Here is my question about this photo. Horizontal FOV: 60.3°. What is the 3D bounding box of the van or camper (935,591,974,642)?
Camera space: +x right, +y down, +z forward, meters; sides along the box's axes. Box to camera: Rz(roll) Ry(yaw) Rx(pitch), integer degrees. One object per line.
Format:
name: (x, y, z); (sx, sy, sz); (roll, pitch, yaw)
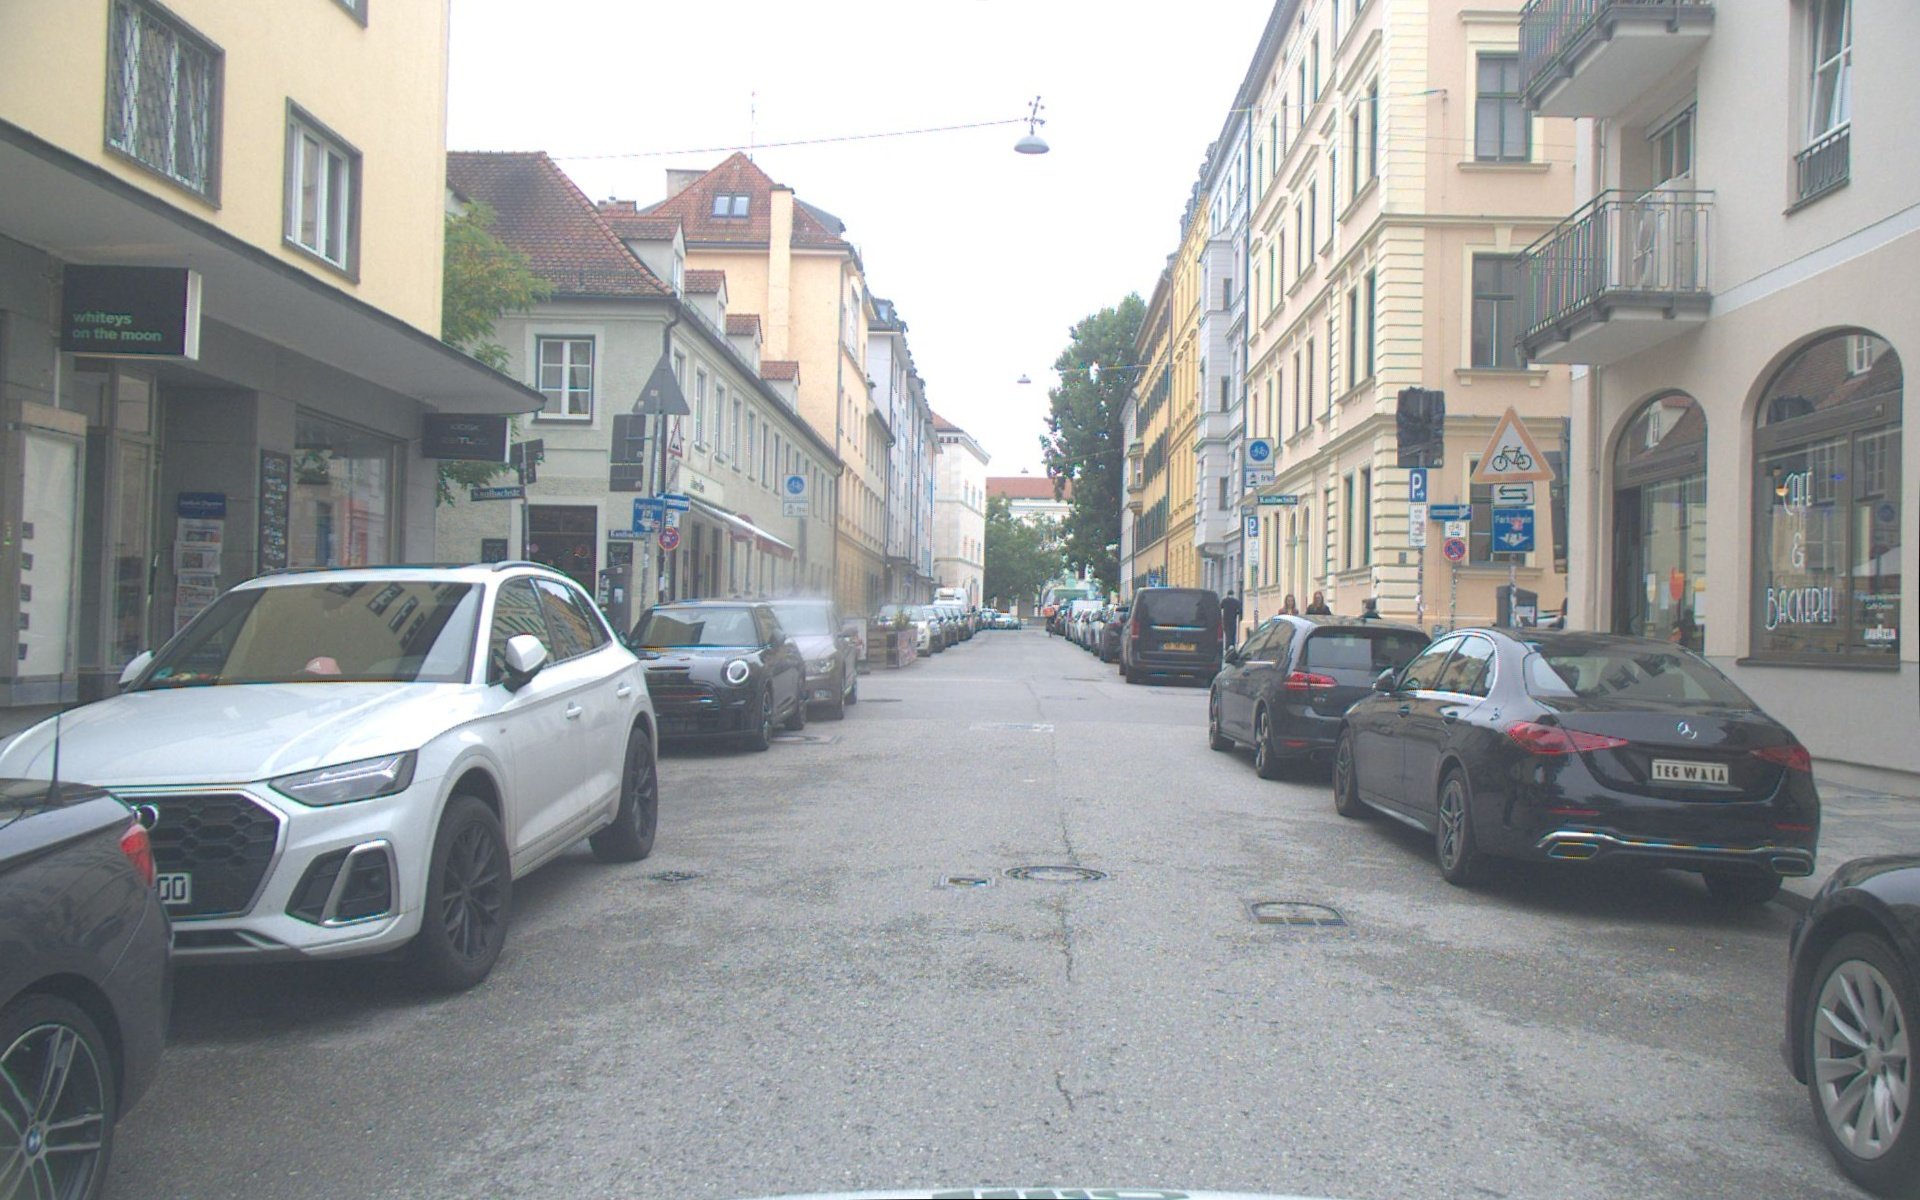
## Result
van or camper: (-0.225, 0.781, 78.985); (1.718, 2.321, 5.273); (1, -1, 1)

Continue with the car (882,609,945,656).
car: (-1.436, 0.993, 52.647); (1.761, 1.363, 4.686); (1, 0, 1)

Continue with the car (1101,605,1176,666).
car: (4.834, 0.949, 45.305); (1.718, 1.548, 4.275); (1, -1, 2)

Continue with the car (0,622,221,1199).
car: (-2.874, 0.786, 2.328); (1.709, 1.435, 4.099); (0, 0, 2)

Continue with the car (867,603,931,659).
car: (-1.704, 0.880, 47.556); (1.719, 1.501, 3.713); (2, -1, -1)

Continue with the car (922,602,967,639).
car: (-0.615, 0.849, 68.677); (1.718, 1.433, 4.103); (1, -1, 1)

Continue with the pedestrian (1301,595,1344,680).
pedestrian: (7.126, 0.743, 32.530); (0.645, 1.649, 0.979); (1, -2, 1)

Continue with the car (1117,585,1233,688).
car: (4.323, 0.708, 33.975); (1.956, 1.897, 5.255); (2, 0, 3)

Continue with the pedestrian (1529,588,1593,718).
pedestrian: (7.855, 0.694, 21.626); (0.622, 1.676, 0.526); (1, -2, -6)

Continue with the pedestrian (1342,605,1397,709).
pedestrian: (7.059, 0.983, 28.525); (0.704, 1.747, 1.004); (1, -2, 1)

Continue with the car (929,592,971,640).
car: (-0.471, 0.720, 73.584); (1.719, 2.030, 4.623); (1, -1, -2)

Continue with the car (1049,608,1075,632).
car: (7.352, 1.441, 119.775); (1.774, 1.642, 4.157); (1, -1, 3)

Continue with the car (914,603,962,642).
car: (-0.887, 0.838, 63.713); (1.779, 1.467, 4.130); (0, 0, -2)

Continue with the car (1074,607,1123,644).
car: (5.779, 1.052, 69.399); (1.673, 1.480, 4.096); (1, -1, 0)

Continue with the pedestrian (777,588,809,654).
pedestrian: (-4.913, 0.625, 48.694); (0.805, 1.931, 0.827); (1, -2, 1)

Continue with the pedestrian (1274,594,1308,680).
pedestrian: (6.506, 0.727, 32.556); (0.462, 1.653, 1.069); (1, -2, 1)

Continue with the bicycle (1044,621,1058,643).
bicycle: (4.695, 1.638, 85.316); (0.661, 1.114, 1.760); (1, -2, 3)

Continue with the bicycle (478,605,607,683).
bicycle: (-6.192, 0.645, 24.566); (1.780, 1.053, 0.392); (3, 0, 5)

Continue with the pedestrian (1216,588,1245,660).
pedestrian: (7.727, 0.684, 47.299); (0.655, 2.015, 0.709); (-2, -2, 2)

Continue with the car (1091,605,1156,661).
car: (5.012, 1.010, 51.216); (1.707, 1.611, 4.467); (1, -1, 2)

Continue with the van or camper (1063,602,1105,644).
van or camper: (5.910, 1.073, 79.116); (1.795, 1.904, 5.080); (1, -1, 2)

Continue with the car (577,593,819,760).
car: (-2.538, 0.695, 16.951); (1.644, 1.497, 4.099); (0, 0, 3)

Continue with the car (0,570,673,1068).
car: (-2.645, 0.681, 7.536); (1.765, 1.611, 4.339); (0, 1, 2)

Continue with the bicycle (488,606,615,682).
bicycle: (-6.161, 0.657, 24.969); (1.780, 1.053, 0.392); (3, 0, 5)

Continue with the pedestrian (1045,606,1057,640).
pedestrian: (4.702, 1.202, 85.348); (0.628, 1.744, 0.843); (1, -2, 3)

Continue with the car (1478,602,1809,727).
car: (9.715, 0.895, 23.718); (4.004, 1.633, 1.755); (1, 1, 0)

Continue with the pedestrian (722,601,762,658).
pedestrian: (-5.081, 0.689, 38.533); (0.786, 1.313, 0.693); (1, -2, 2)

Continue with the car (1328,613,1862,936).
car: (3.640, 0.881, 10.433); (1.612, 1.450, 4.510); (3, 0, 1)

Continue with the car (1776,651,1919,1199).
car: (3.359, 0.908, 2.792); (1.765, 1.435, 4.657); (2, 0, 2)

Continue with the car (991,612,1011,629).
car: (3.889, 1.952, 155.185); (1.670, 1.609, 3.865); (0, -1, 4)

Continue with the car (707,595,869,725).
car: (-2.131, 0.699, 21.639); (1.645, 1.497, 4.949); (0, 0, -1)

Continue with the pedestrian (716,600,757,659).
pedestrian: (-5.103, 0.676, 37.807); (0.786, 1.313, 0.693); (1, -2, 2)

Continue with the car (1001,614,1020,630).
car: (4.931, 2.148, 161.288); (1.670, 1.609, 3.865); (0, -1, 4)

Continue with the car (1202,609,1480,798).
car: (3.510, 0.882, 16.004); (1.641, 1.450, 4.203); (3, 0, 0)

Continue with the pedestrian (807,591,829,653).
pedestrian: (-4.195, 0.664, 48.932); (0.517, 1.813, 0.877); (1, -2, 2)
